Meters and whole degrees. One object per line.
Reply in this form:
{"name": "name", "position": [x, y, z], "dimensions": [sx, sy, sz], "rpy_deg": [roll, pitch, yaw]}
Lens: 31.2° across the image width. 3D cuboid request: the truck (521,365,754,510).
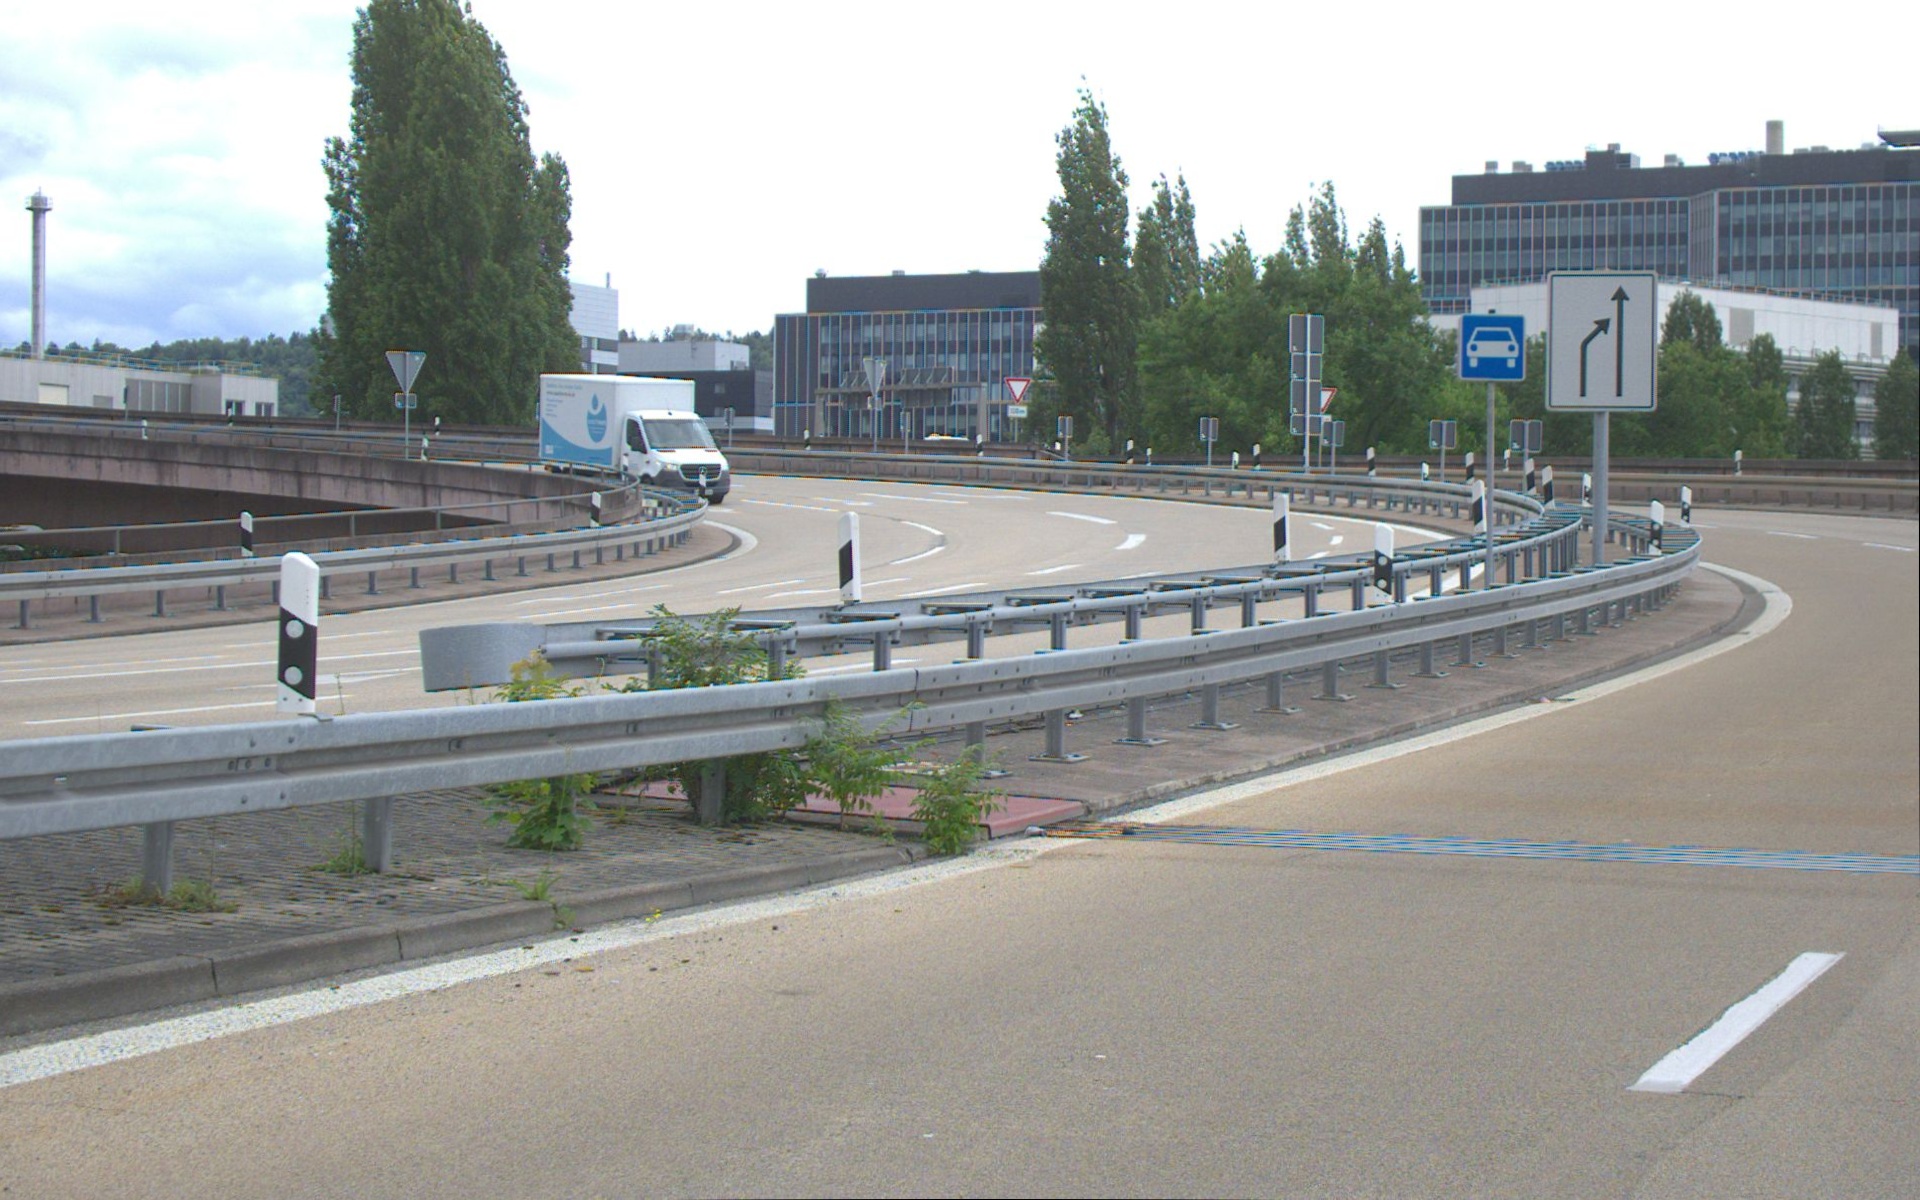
{"name": "truck", "position": [-7.976, -4.030, 84.230], "dimensions": [2.345, 3.252, 6.995], "rpy_deg": [1, 3, -36]}
